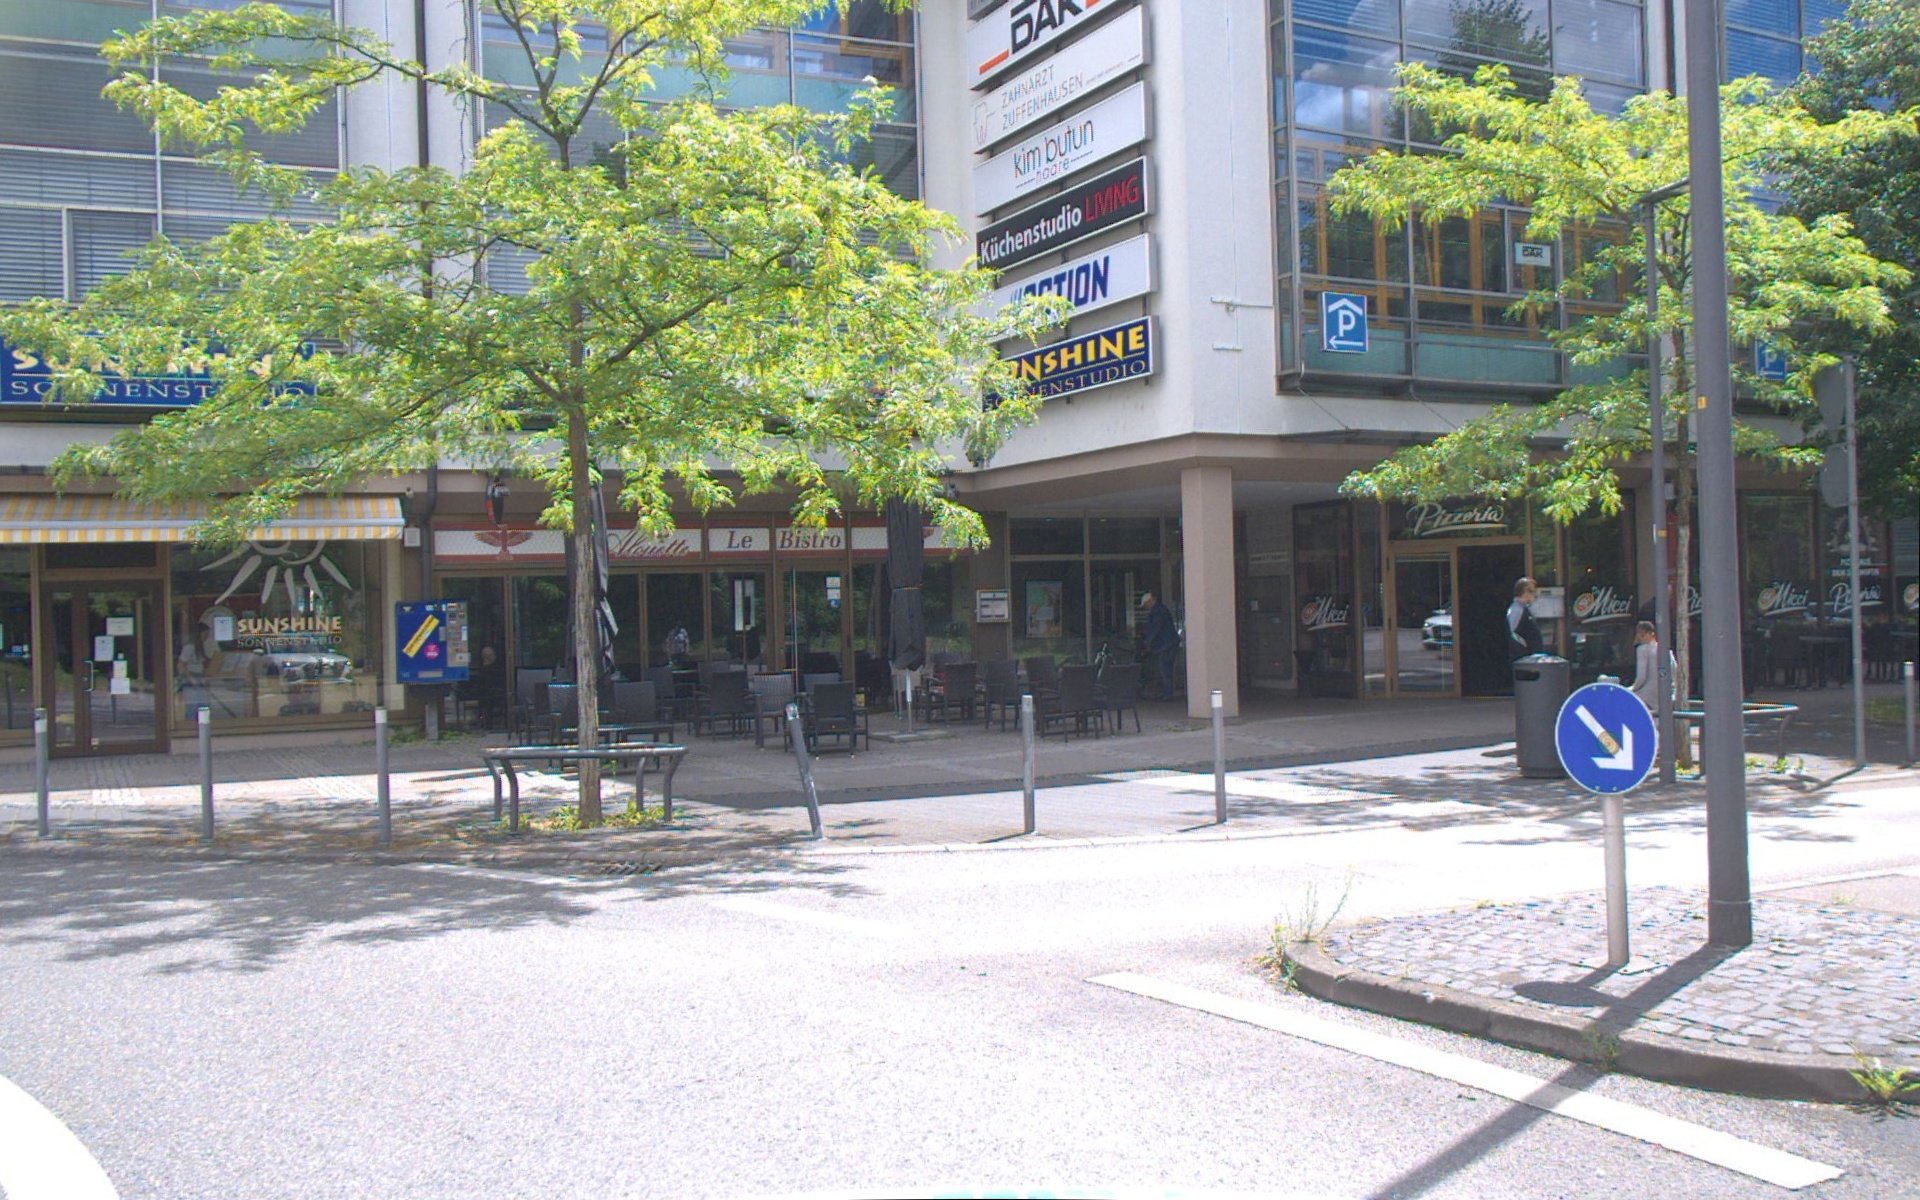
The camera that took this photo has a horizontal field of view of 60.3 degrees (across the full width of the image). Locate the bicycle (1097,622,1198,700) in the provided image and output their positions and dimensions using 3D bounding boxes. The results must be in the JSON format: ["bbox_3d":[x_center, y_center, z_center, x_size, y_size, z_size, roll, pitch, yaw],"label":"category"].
[{"bbox_3d":[2.913,0.945,25.728,1.505,1.189,0.496,-1,-2,13],"label":"bicycle"}]

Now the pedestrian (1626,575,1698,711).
[{"bbox_3d":[8.948,0.536,21.076,0.692,1.704,0.607,0,-1,-44],"label":"pedestrian"}]

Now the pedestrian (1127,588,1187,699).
[{"bbox_3d":[3.067,0.667,25.712,0.689,1.704,0.611,0,0,-31],"label":"pedestrian"}]

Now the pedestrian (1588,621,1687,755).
[{"bbox_3d":[6.808,0.867,16.643,0.606,1.307,0.694,0,0,-18],"label":"pedestrian"}]

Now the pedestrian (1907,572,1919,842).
[{"bbox_3d":[5.924,0.623,9.410,0.747,1.581,0.780,-1,0,16],"label":"pedestrian"}]

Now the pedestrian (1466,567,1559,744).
[{"bbox_3d":[5.950,0.586,17.822,0.608,1.850,0.692,-1,0,-26],"label":"pedestrian"}]
